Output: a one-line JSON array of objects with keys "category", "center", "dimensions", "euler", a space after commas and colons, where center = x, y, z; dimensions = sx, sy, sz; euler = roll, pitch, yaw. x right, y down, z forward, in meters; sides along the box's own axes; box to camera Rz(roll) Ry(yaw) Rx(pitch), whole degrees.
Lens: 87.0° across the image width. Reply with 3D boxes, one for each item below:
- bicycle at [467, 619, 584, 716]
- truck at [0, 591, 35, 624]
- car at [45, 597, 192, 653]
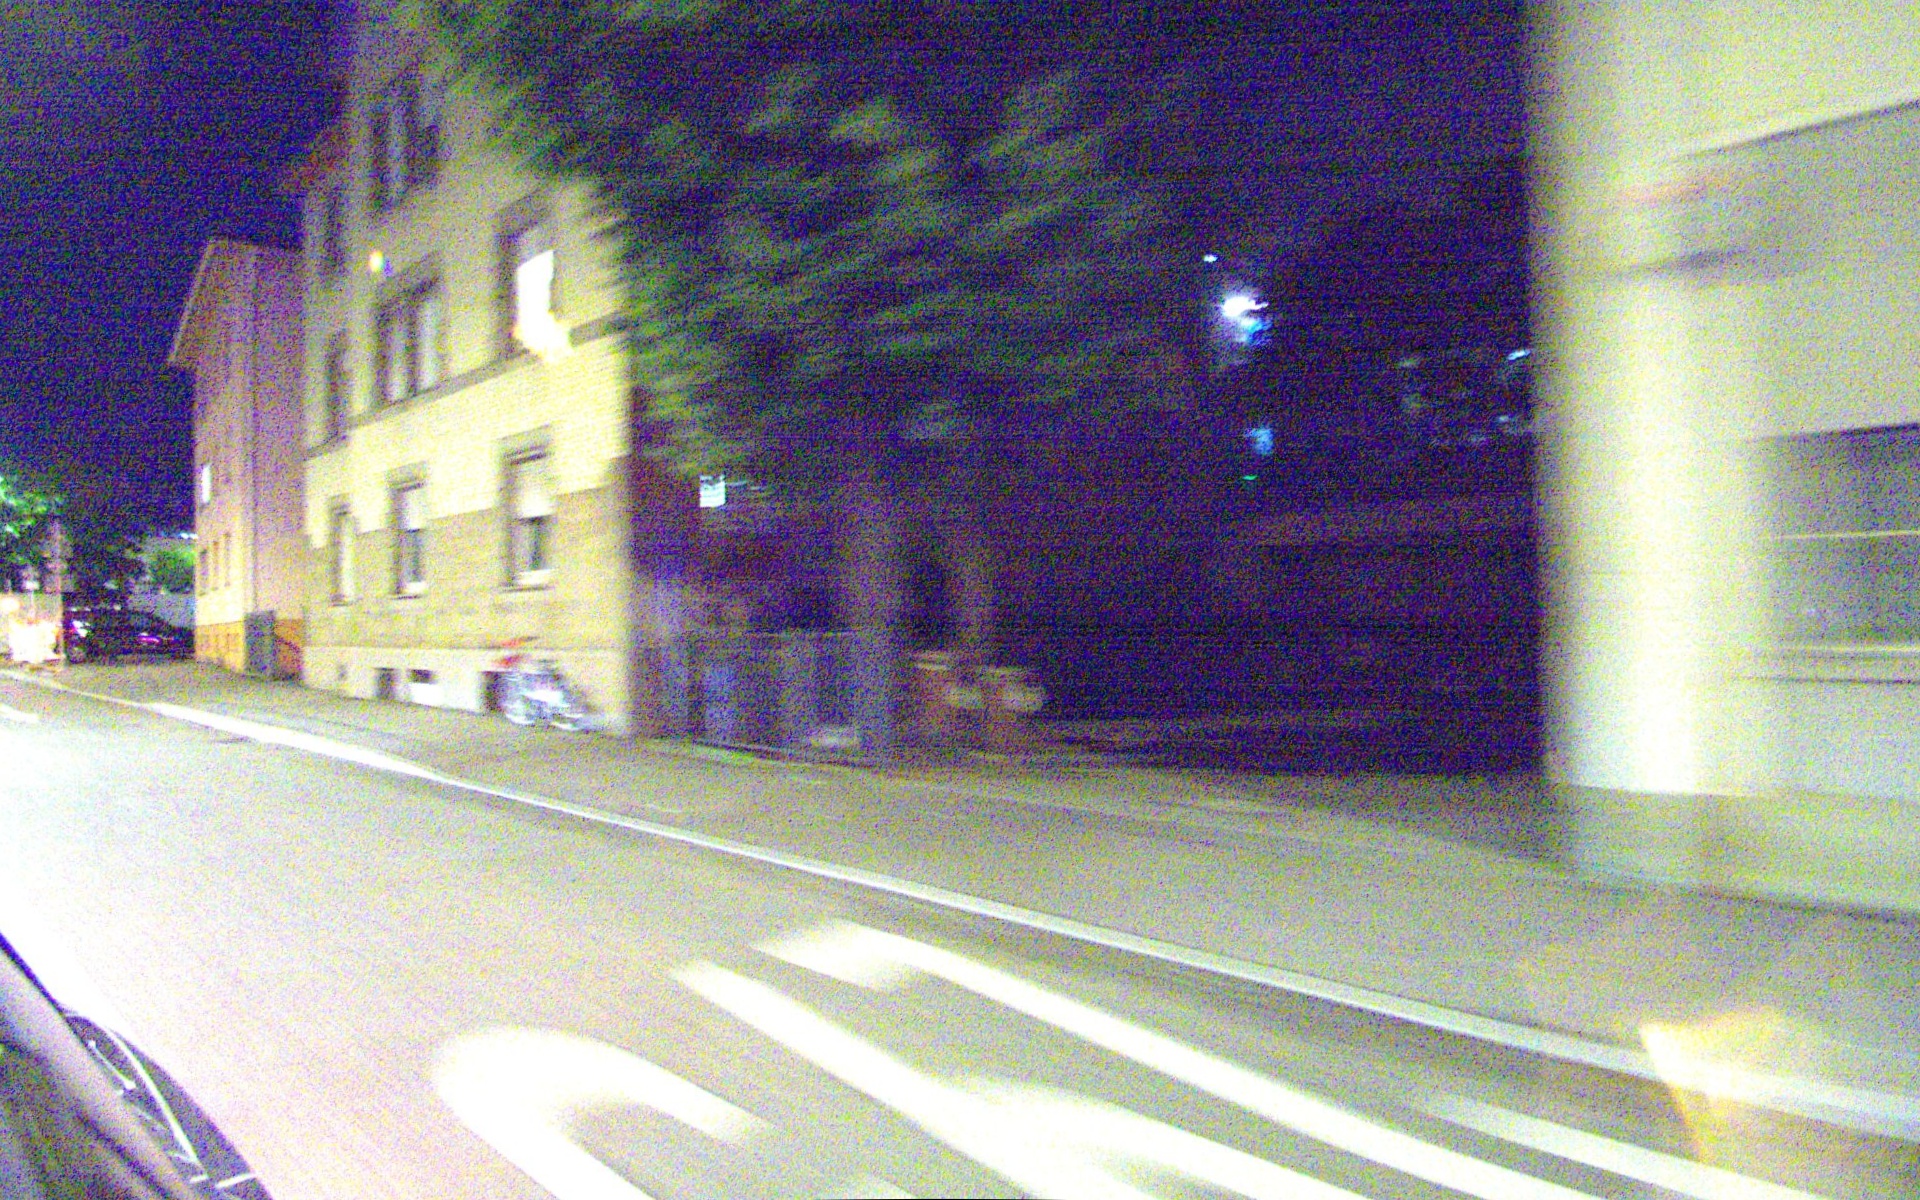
[{"category": "bicycle", "center": [-5.173, 0.763, 12.004], "dimensions": [1.721, 1.059, 0.613], "euler": [-1, -1, 42]}, {"category": "truck", "center": [-108.507, 0.862, 113.958], "dimensions": [6.105, 3.722, 2.407], "euler": [0, -1, -37]}, {"category": "car", "center": [-30.087, 0.857, 36.357], "dimensions": [3.934, 1.903, 1.913], "euler": [0, -1, -37]}]
